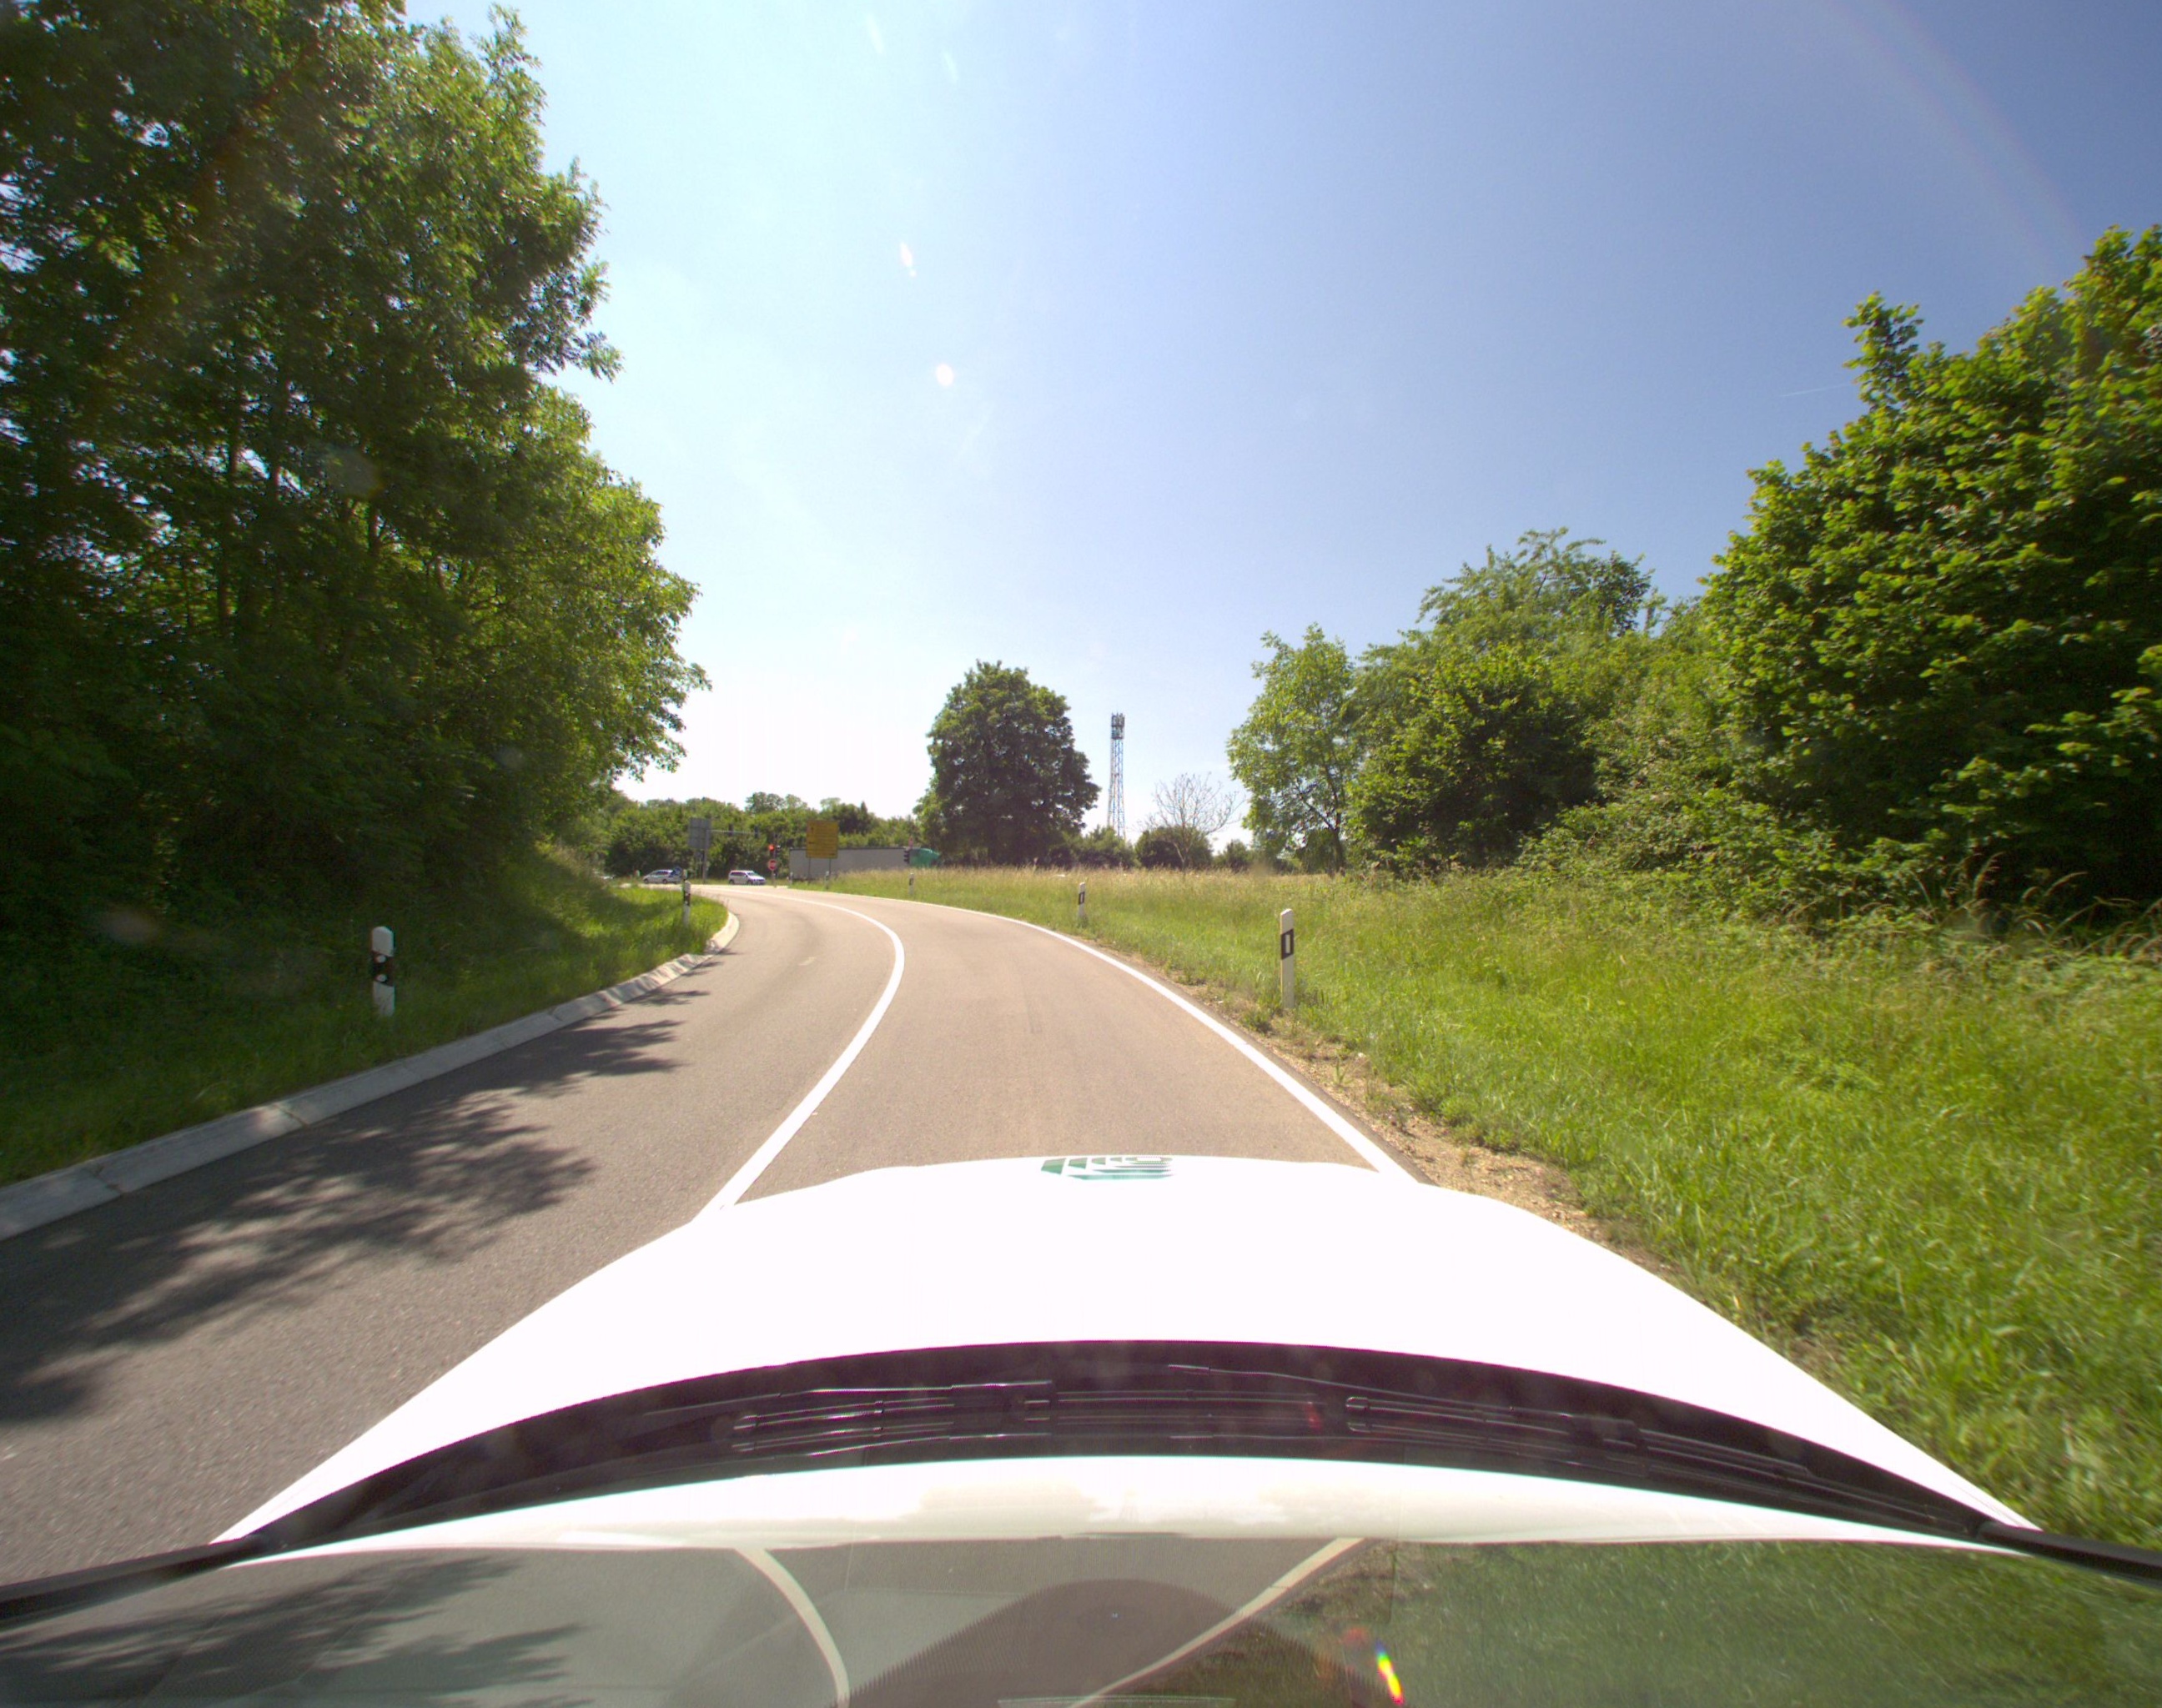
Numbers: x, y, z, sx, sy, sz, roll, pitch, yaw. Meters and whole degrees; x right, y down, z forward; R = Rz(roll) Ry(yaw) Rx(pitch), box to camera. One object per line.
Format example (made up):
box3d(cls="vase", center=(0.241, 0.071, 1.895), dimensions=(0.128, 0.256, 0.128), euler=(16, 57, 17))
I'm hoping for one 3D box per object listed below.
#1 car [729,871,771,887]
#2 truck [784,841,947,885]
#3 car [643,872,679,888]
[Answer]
box3d(cls="car", center=(-35.284, 2.671, 86.904), dimensions=(3.660, 1.575, 1.728), euler=(-2, -1, 5))
box3d(cls="truck", center=(-21.837, 0.943, 82.248), dimensions=(16.507, 4.173, 3.148), euler=(-1, -2, 15))
box3d(cls="car", center=(-49.998, 3.134, 96.860), dimensions=(3.617, 1.706, 1.637), euler=(-2, 1, 17))
